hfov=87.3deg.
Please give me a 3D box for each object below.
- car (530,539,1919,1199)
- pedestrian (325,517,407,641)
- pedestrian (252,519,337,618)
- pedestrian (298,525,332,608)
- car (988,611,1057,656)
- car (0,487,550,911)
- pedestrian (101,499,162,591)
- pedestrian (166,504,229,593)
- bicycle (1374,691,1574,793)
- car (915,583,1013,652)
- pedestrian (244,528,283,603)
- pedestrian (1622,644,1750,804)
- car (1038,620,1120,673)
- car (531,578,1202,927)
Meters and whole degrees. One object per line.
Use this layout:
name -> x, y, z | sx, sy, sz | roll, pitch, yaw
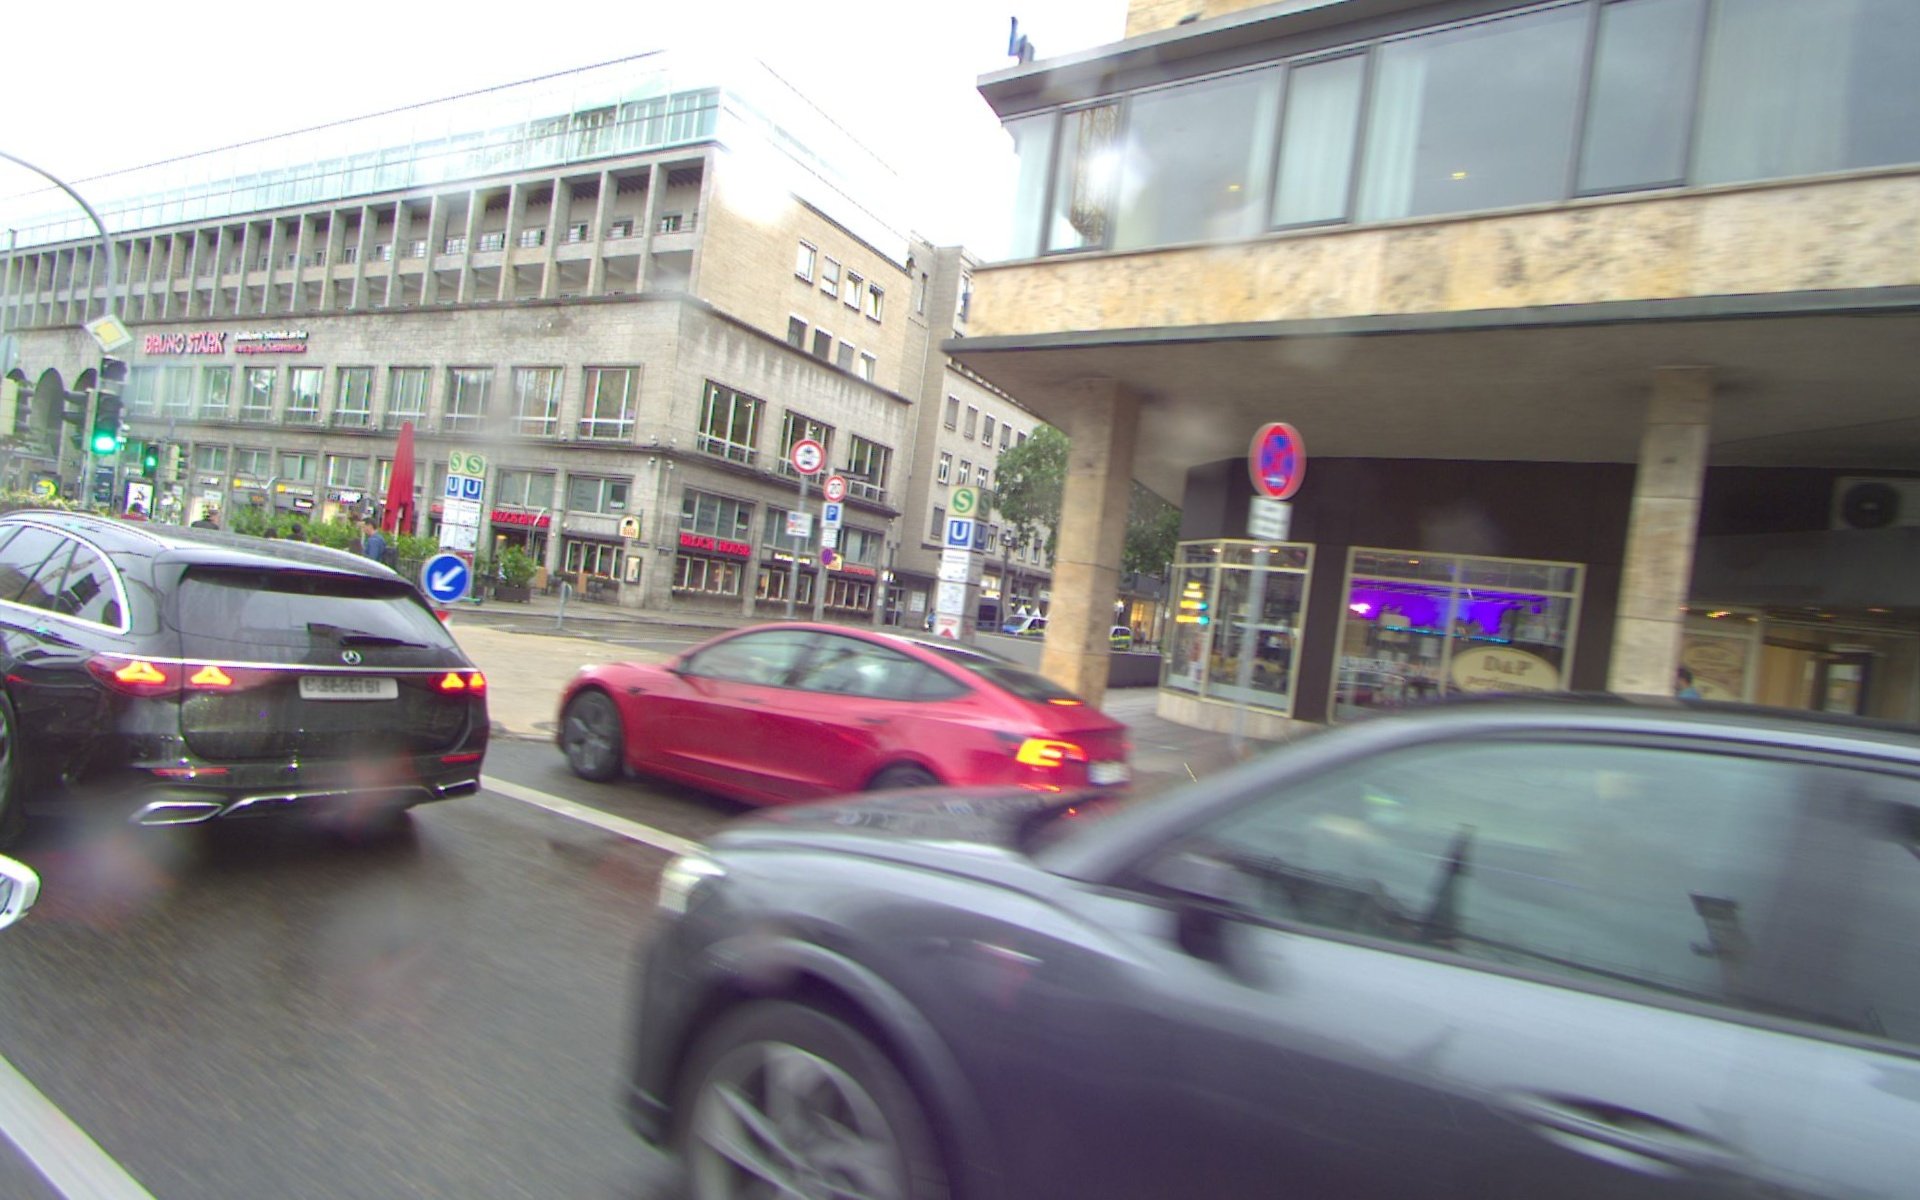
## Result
car -> 1.300, 0.882, 2.185 | 4.271, 1.519, 1.882 | 6, -2, 32
pedestrian -> -9.065, -0.310, 15.378 | 0.768, 1.776, 0.503 | 7, -1, -15
pedestrian -> -12.798, -0.593, 19.368 | 0.642, 1.774, 1.097 | 6, 1, 29
pedestrian -> -14.275, -0.753, 22.274 | 0.477, 1.774, 0.661 | 5, 2, -30
car -> 3.585, 1.943, 57.131 | 1.966, 2.065, 4.557 | 6, -2, 29
car -> -4.613, 0.273, 5.640 | 4.551, 1.519, 1.797 | 6, -2, 31
pedestrian -> -17.001, -1.106, 20.661 | 0.561, 1.772, 0.679 | 7, -1, -16
pedestrian -> -15.930, -1.068, 21.021 | 0.458, 1.737, 0.757 | 6, -1, 28
bicycle -> 7.347, 1.999, 14.455 | 2.431, 1.058, 0.657 | 6, -2, 32
car -> 0.318, 0.958, 50.312 | 1.965, 2.792, 6.185 | 6, -2, 28
pedestrian -> -14.947, -0.742, 21.600 | 0.460, 1.535, 0.447 | 7, -1, -25
pedestrian -> 9.030, 1.538, 12.513 | 1.125, 1.811, 0.794 | 8, -2, -33
car -> 5.494, 2.176, 45.923 | 1.966, 1.994, 4.639 | 7, -1, 29
car -> -0.788, 0.871, 7.253 | 4.451, 1.503, 1.879 | 6, -2, 31
